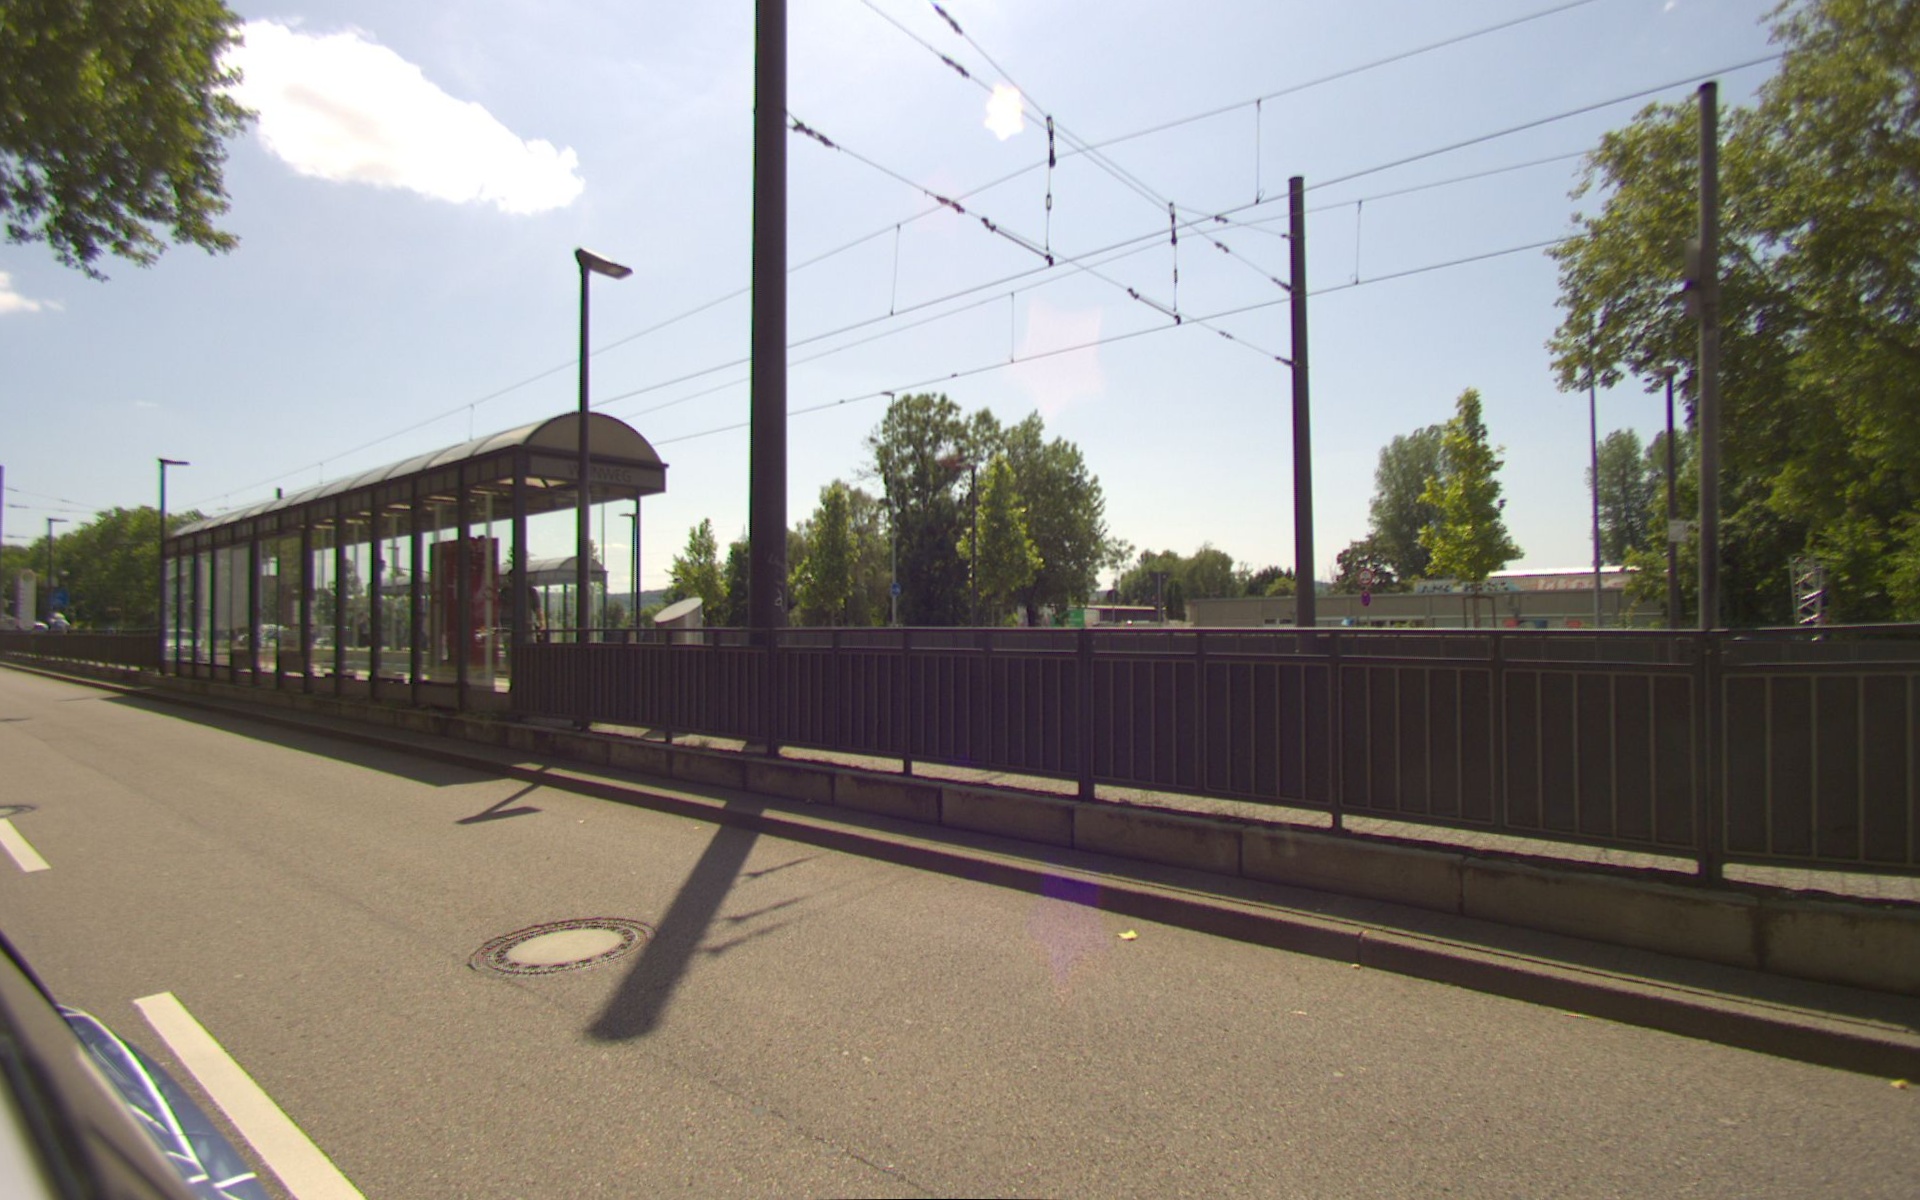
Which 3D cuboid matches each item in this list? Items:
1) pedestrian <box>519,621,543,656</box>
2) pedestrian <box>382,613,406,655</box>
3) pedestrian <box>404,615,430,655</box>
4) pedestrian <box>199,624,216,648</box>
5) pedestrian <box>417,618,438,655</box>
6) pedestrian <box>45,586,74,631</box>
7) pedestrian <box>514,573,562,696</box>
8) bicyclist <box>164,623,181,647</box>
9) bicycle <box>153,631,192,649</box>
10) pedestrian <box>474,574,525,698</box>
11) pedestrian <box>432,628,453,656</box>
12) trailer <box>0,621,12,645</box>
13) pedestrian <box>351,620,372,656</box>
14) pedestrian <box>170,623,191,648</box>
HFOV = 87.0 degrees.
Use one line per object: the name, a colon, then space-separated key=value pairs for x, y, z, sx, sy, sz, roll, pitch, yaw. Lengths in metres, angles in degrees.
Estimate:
pedestrian: x=-14.934 y=1.345 z=35.253 sx=0.639 sy=1.199 sz=0.570 roll=-2 pitch=-2 yaw=42
pedestrian: x=-24.011 y=1.446 z=42.951 sx=0.726 sy=1.742 sz=0.579 roll=-1 pitch=-2 yaw=-11
pedestrian: x=-22.681 y=1.463 z=42.275 sx=0.814 sy=1.651 sz=0.579 roll=-1 pitch=-2 yaw=-11
pedestrian: x=-50.930 y=2.446 z=68.465 sx=0.763 sy=1.560 sz=0.754 roll=-2 pitch=-2 yaw=39
pedestrian: x=-22.022 y=1.507 z=41.854 sx=0.639 sy=1.545 sz=0.570 roll=-2 pitch=-2 yaw=42
pedestrian: x=-34.120 y=0.315 z=38.352 sx=0.742 sy=1.678 sz=0.725 roll=-2 pitch=-2 yaw=41
pedestrian: x=-5.308 y=0.434 z=12.745 sx=0.413 sy=1.519 sz=0.395 roll=0 pitch=-1 yaw=4
bicyclist: x=-53.674 y=2.371 z=68.958 sx=0.729 sy=1.627 sz=0.660 roll=-2 pitch=-1 yaw=26
bicycle: x=-53.625 y=2.724 z=68.936 sx=0.760 sy=1.109 sz=1.960 roll=-2 pitch=-1 yaw=26
pedestrian: x=-5.753 y=0.444 z=12.652 sx=0.414 sy=1.519 sz=0.394 roll=0 pitch=-1 yaw=14
pedestrian: x=-20.736 y=1.693 z=40.581 sx=0.639 sy=1.103 sz=0.570 roll=-2 pitch=-2 yaw=42
trailer: x=-167.232 y=5.673 z=173.816 sx=15.443 sy=3.900 sz=3.088 roll=-1 pitch=-2 yaw=35
pedestrian: x=-27.671 y=1.773 z=46.819 sx=0.804 sy=1.650 sz=0.552 roll=-2 pitch=-2 yaw=35
pedestrian: x=-52.626 y=2.396 z=68.323 sx=0.763 sy=1.622 sz=0.947 roll=-2 pitch=-2 yaw=39
